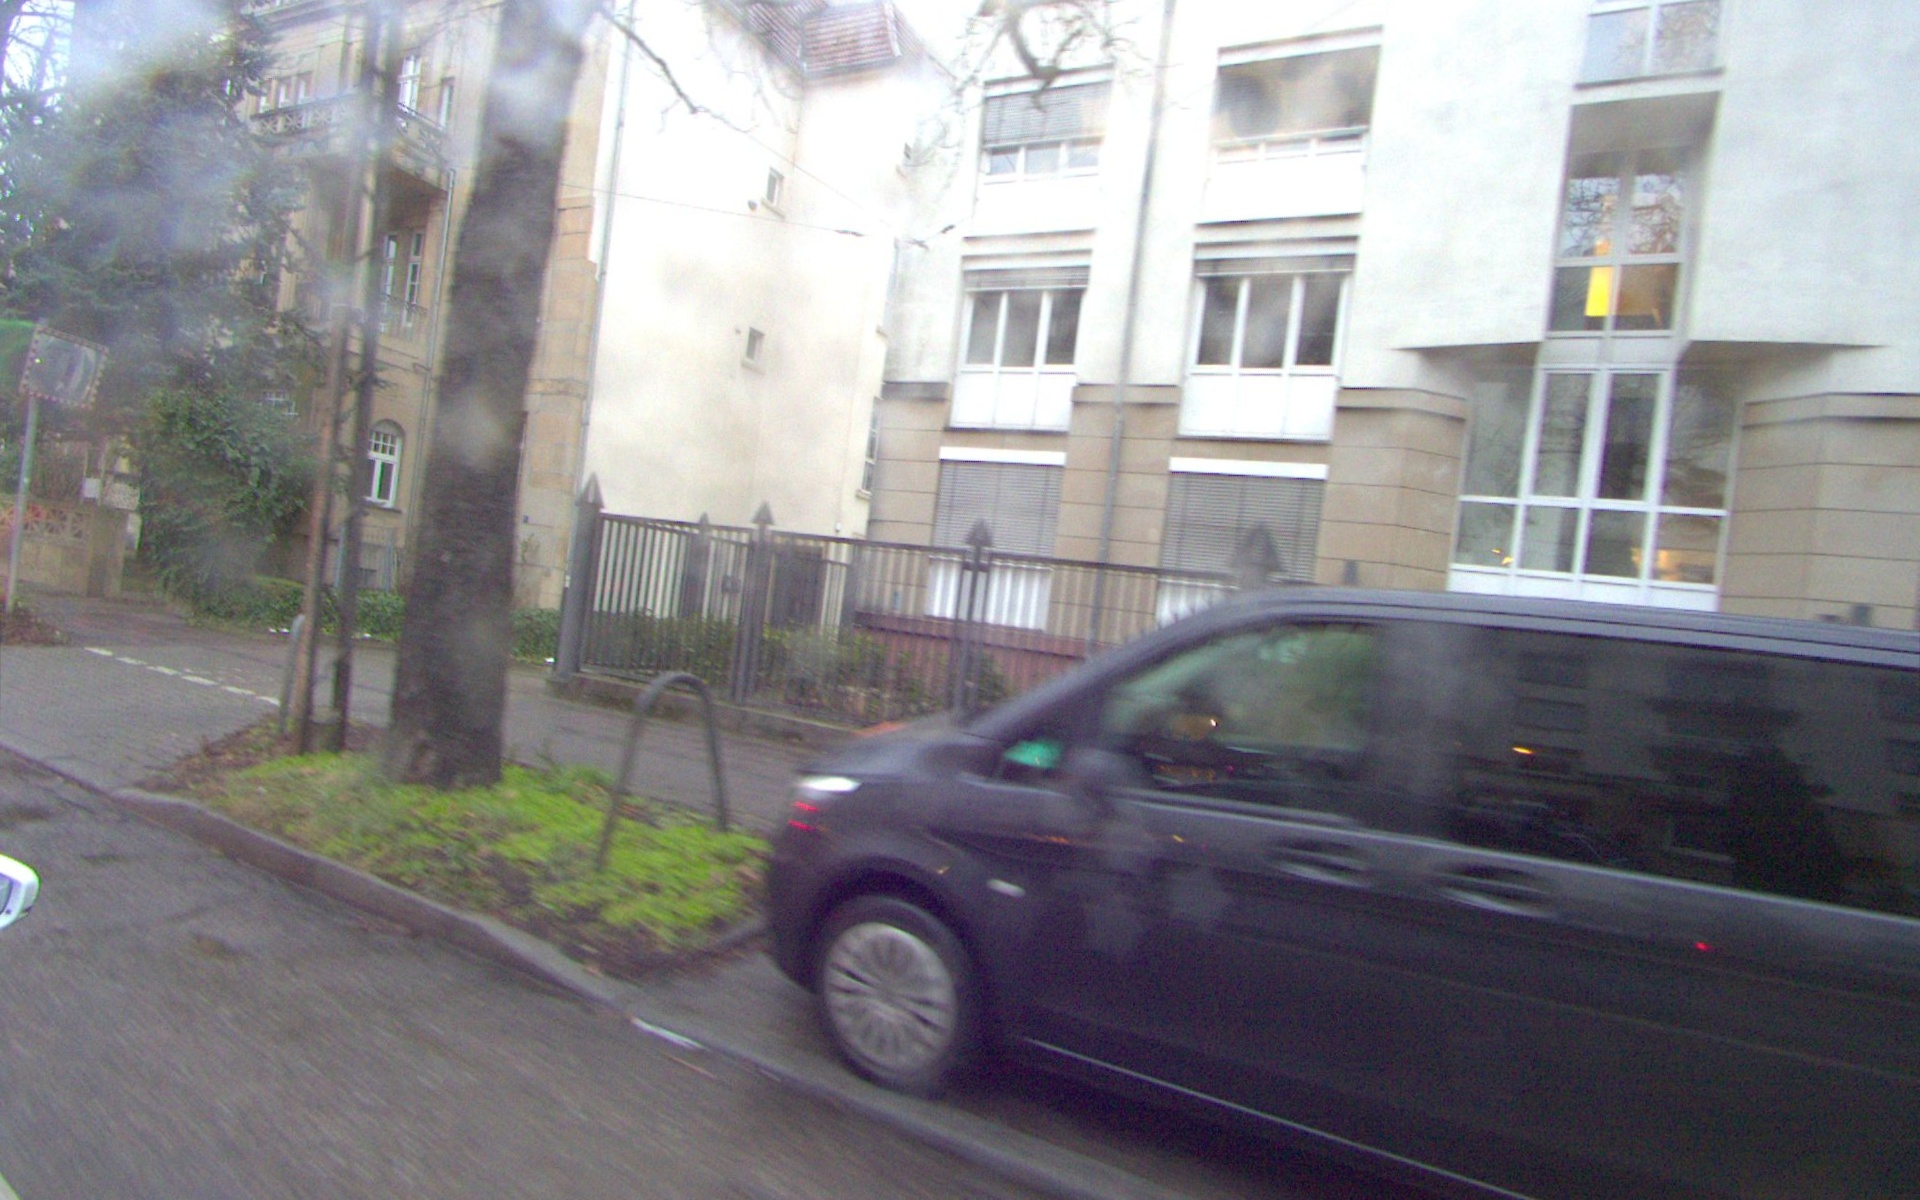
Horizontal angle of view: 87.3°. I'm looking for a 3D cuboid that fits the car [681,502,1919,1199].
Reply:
[{"bbox_3d":[1.701,0.917,3.420,4.876,1.899,2.035,7,0,27],"label":"car"}]
